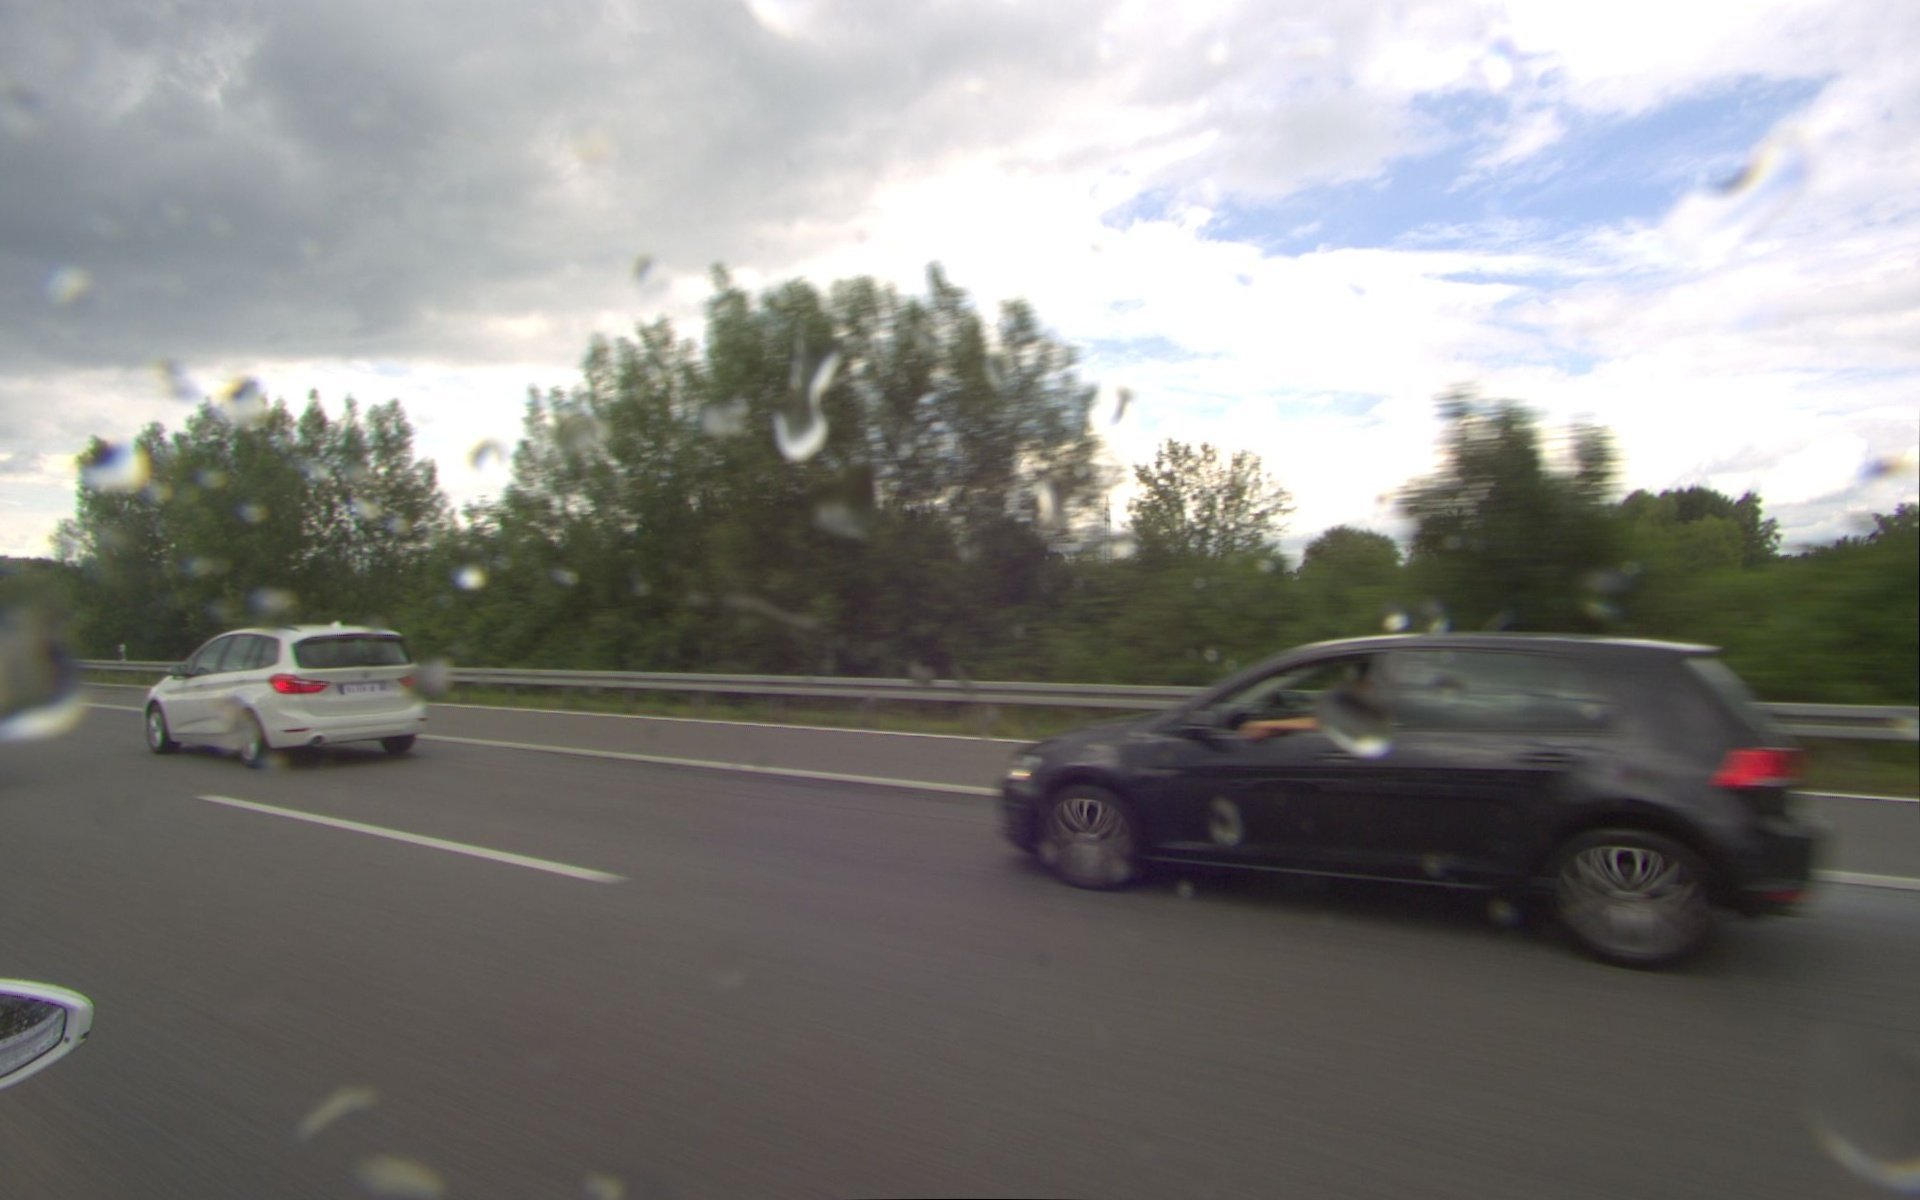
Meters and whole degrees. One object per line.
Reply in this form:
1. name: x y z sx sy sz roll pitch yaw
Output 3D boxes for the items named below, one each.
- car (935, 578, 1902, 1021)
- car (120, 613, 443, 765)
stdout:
1. car: 2.139 0.808 5.677 4.395 1.652 1.703 -1 -2 34
2. car: -8.733 1.018 12.761 4.631 1.619 1.806 -1 -2 34
